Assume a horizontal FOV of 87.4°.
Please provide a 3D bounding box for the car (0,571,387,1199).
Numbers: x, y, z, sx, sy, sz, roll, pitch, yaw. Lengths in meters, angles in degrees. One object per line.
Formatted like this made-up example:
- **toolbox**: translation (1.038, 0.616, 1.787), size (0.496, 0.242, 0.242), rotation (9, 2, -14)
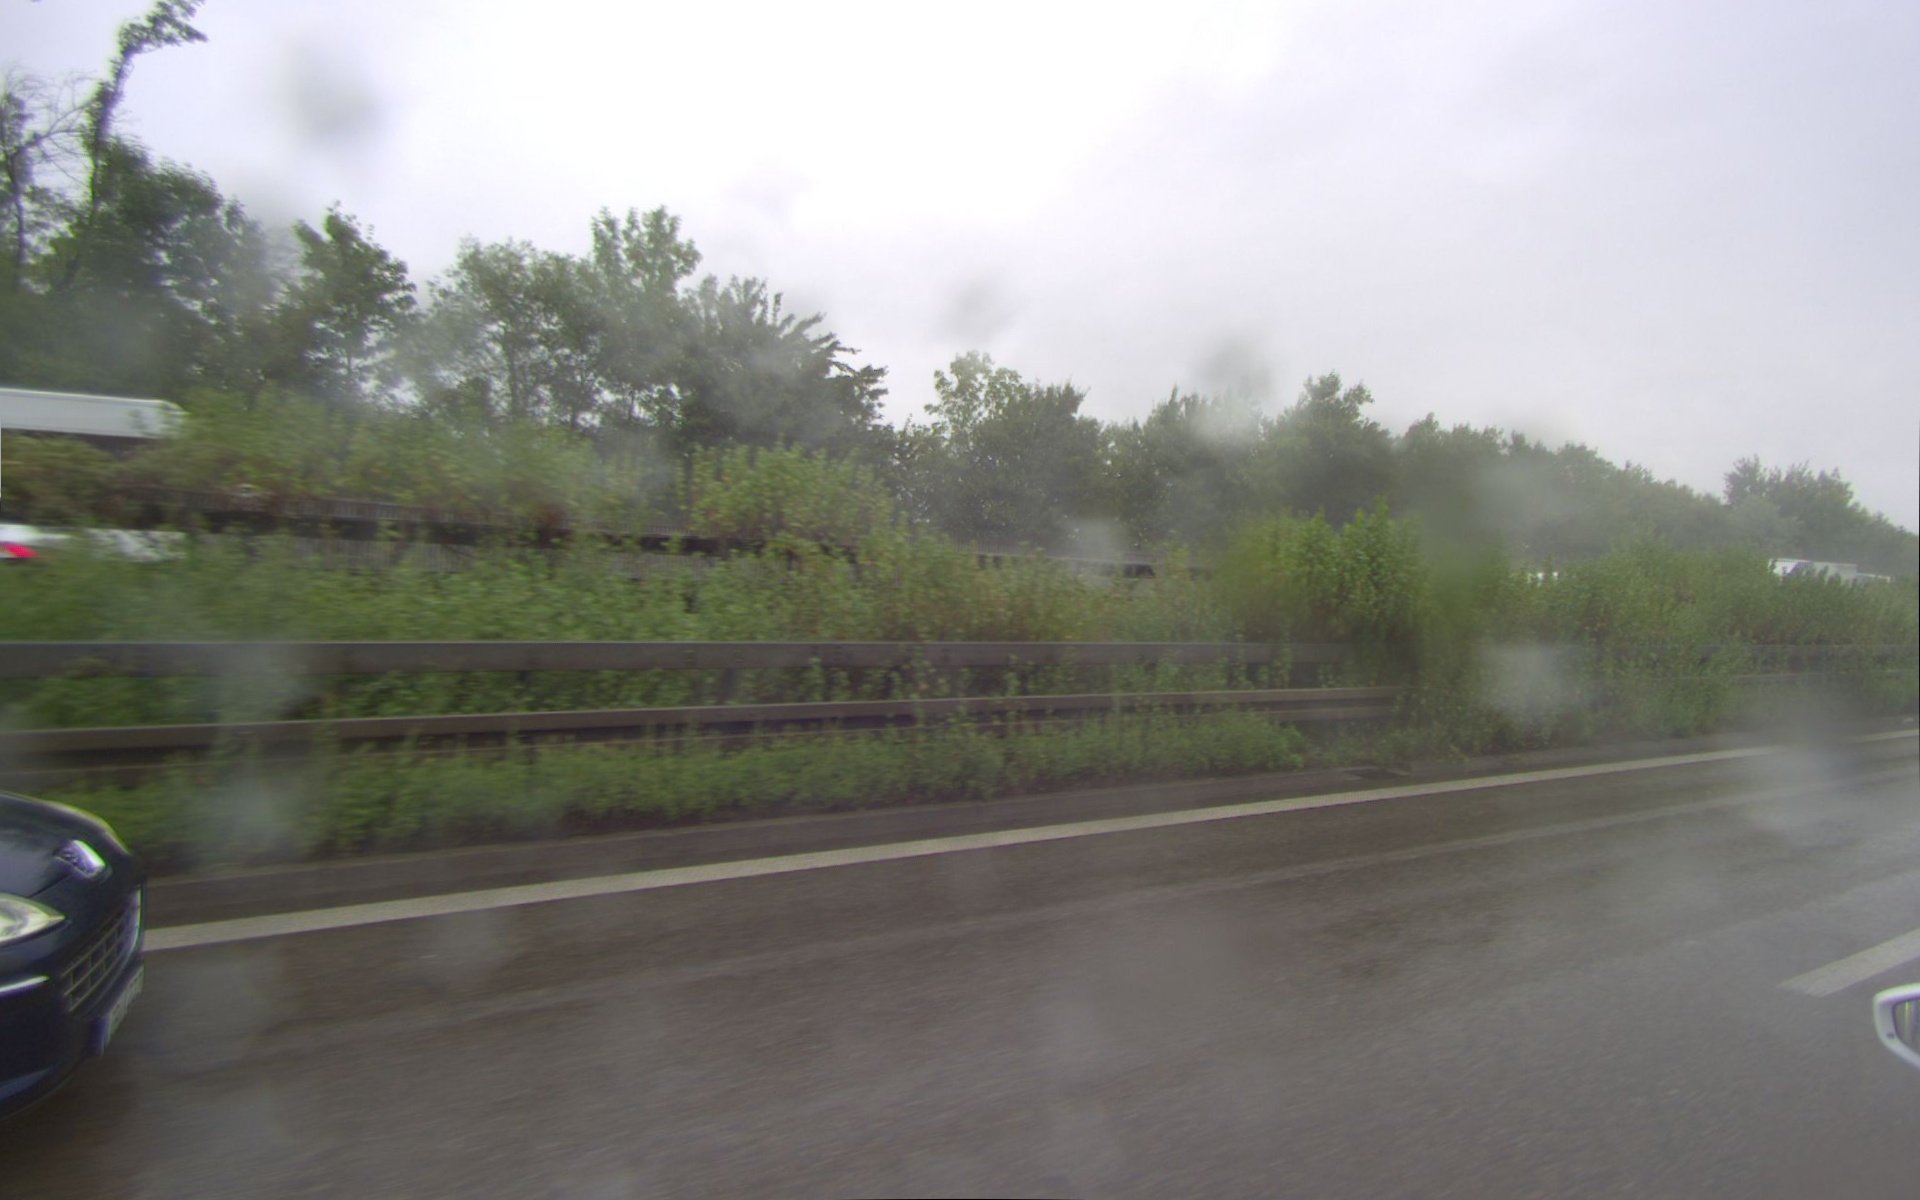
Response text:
- **car**: translation (-4.097, 0.623, 2.001), size (5.098, 1.505, 2.044), rotation (2, 0, -31)

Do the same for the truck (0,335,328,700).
- **truck**: translation (-12.226, -0.944, 12.077), size (7.616, 4.071, 3.020), rotation (1, 0, -30)
